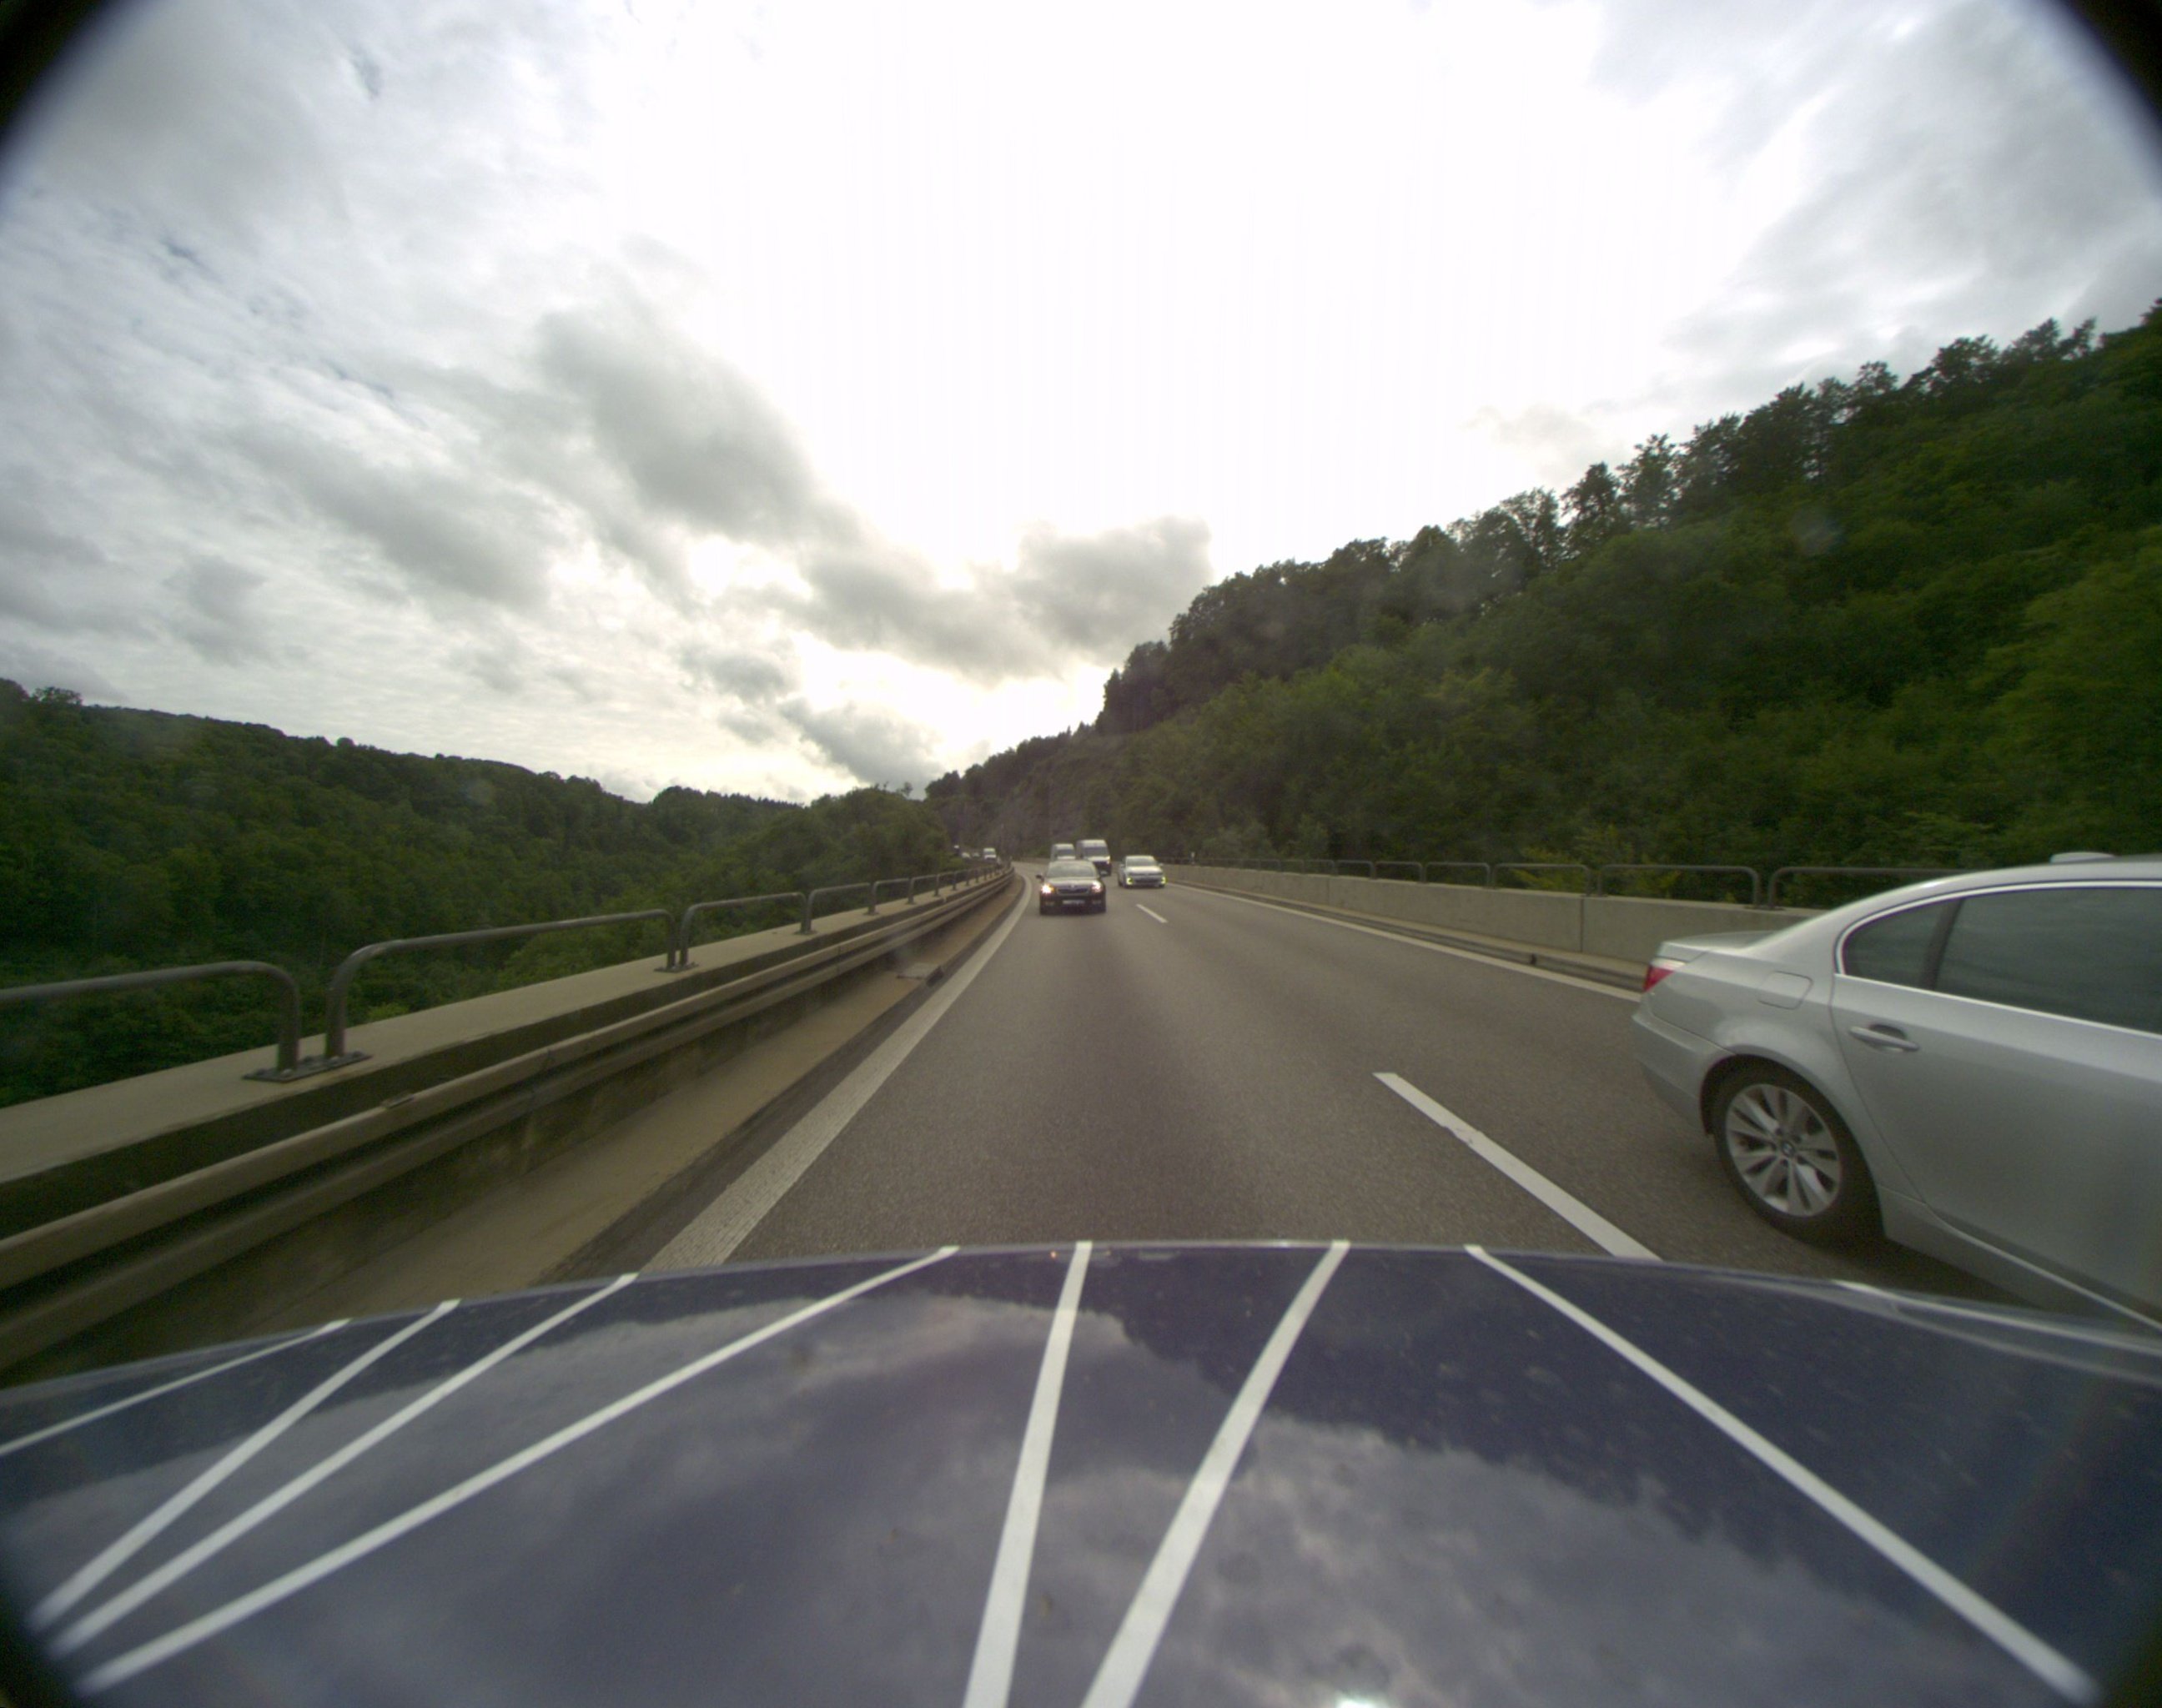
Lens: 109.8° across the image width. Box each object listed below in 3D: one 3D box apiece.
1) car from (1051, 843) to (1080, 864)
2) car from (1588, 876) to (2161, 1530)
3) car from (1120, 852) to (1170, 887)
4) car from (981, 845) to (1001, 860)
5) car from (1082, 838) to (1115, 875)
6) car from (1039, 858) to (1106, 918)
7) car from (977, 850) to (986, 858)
[{"bbox_3d":[-1.653,-0.054,77.414,2.231,2.061,5.620,-2,1,-8],"label":"car"},{"bbox_3d":[3.488,0.877,1.290,1.832,1.448,5.134,-2,0,0],"label":"car"},{"bbox_3d":[2.892,0.686,35.128,1.923,1.452,4.230,-2,0,1],"label":"car"},{"bbox_3d":[-15.633,-0.251,131.373,2.677,2.409,6.114,-2,1,-13],"label":"car"},{"bbox_3d":[1.229,0.107,55.609,1.869,2.444,4.979,-2,2,-5],"label":"car"},{"bbox_3d":[-0.264,0.879,21.523,1.677,1.419,4.471,-2,0,-1],"label":"car"},{"bbox_3d":[-28.150,0.052,214.762,2.001,2.002,3.995,-2,0,-14],"label":"car"}]
